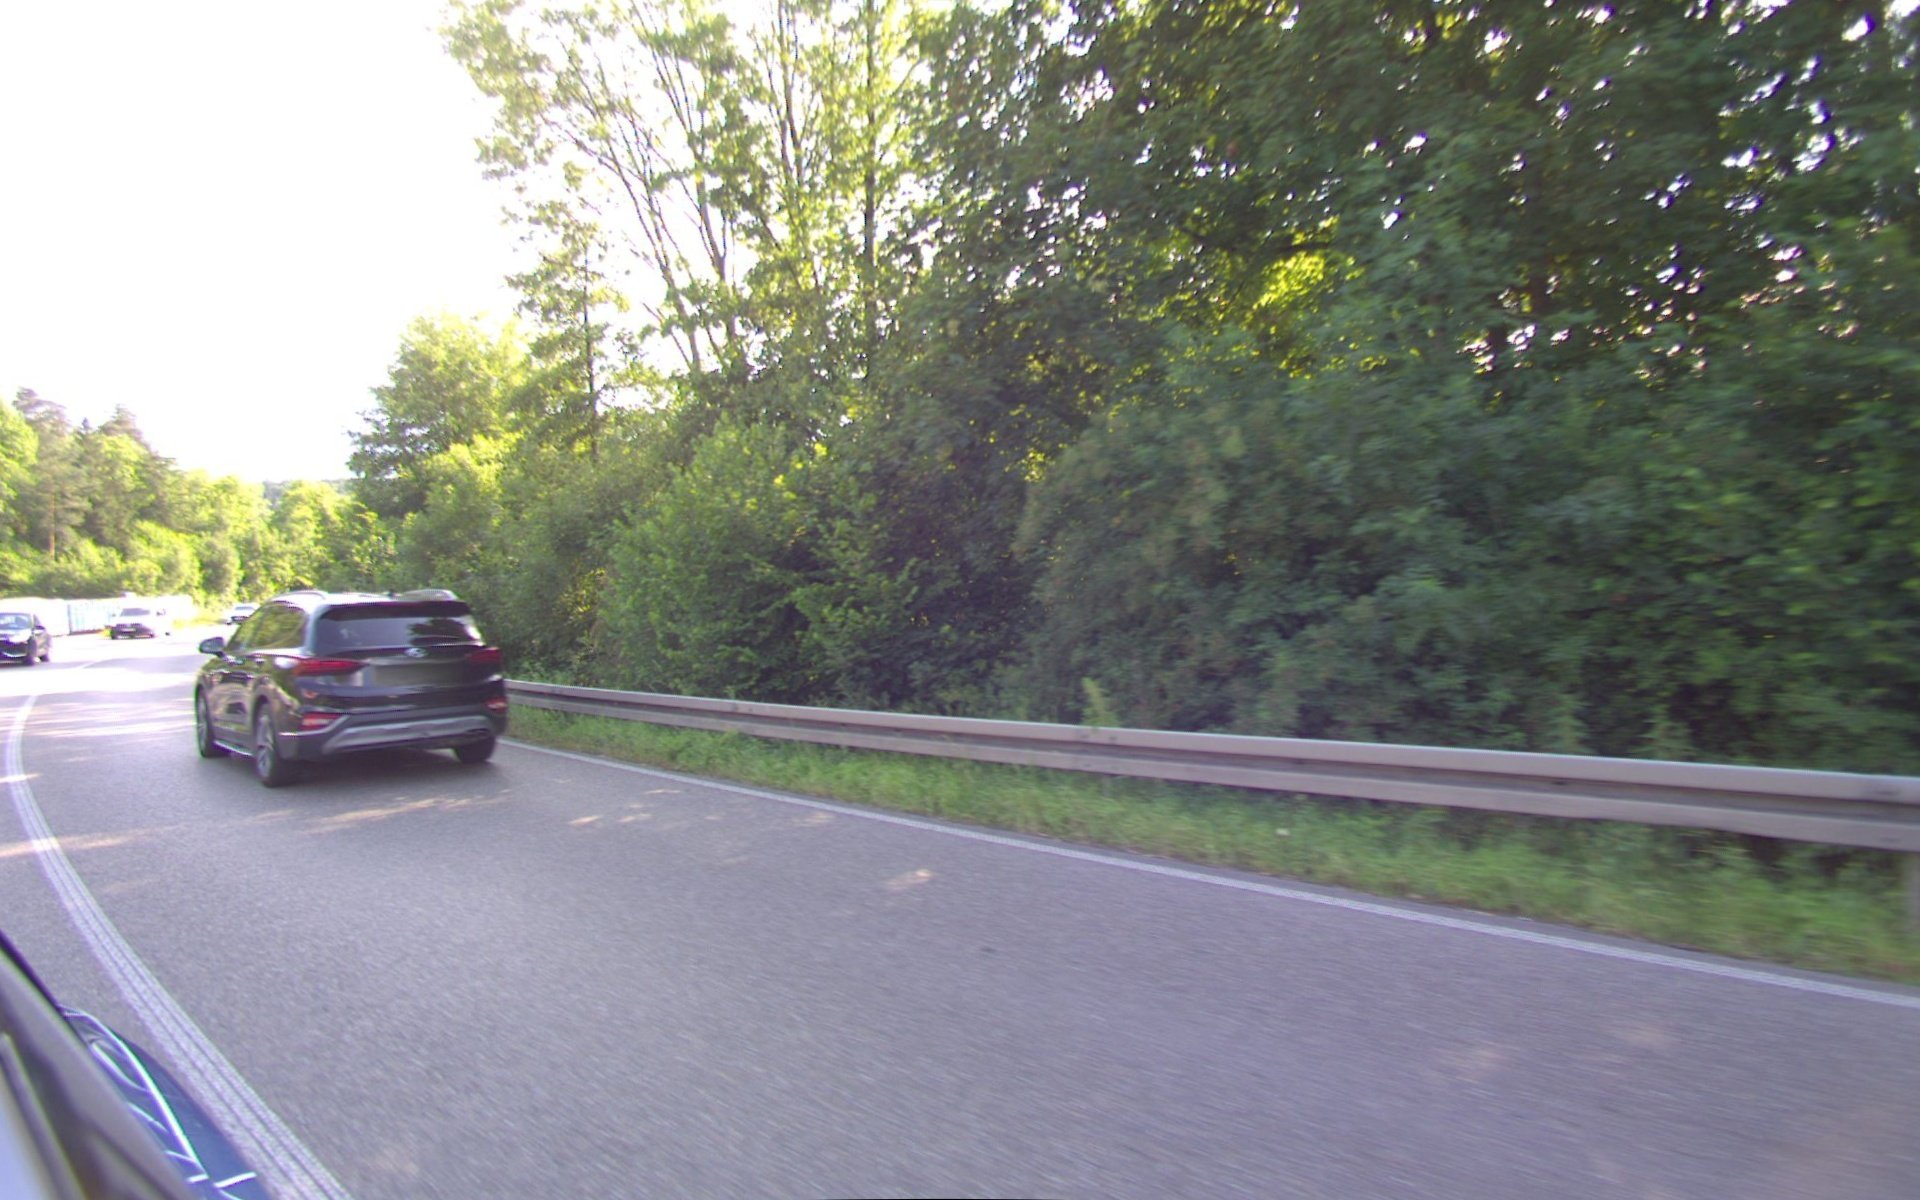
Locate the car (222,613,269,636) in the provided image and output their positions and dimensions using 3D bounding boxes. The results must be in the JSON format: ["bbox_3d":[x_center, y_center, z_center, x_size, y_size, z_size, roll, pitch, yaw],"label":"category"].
[{"bbox_3d":[-50.902,1.717,72.178,1.865,1.456,4.491,-3,1,-24],"label":"car"}]

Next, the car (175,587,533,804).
[{"bbox_3d":[-6.169,0.801,10.040,4.549,1.665,1.847,-2,-2,43],"label":"car"}]

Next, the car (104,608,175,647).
[{"bbox_3d":[-41.231,1.325,50.948,1.837,1.733,4.778,-3,1,-28],"label":"car"}]

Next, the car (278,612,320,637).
[{"bbox_3d":[-46.046,1.683,70.569,1.841,1.601,4.262,0,-1,-25],"label":"car"}]

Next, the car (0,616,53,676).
[{"bbox_3d":[-28.176,1.319,29.648,1.819,1.581,4.268,-1,0,-34],"label":"car"}]
